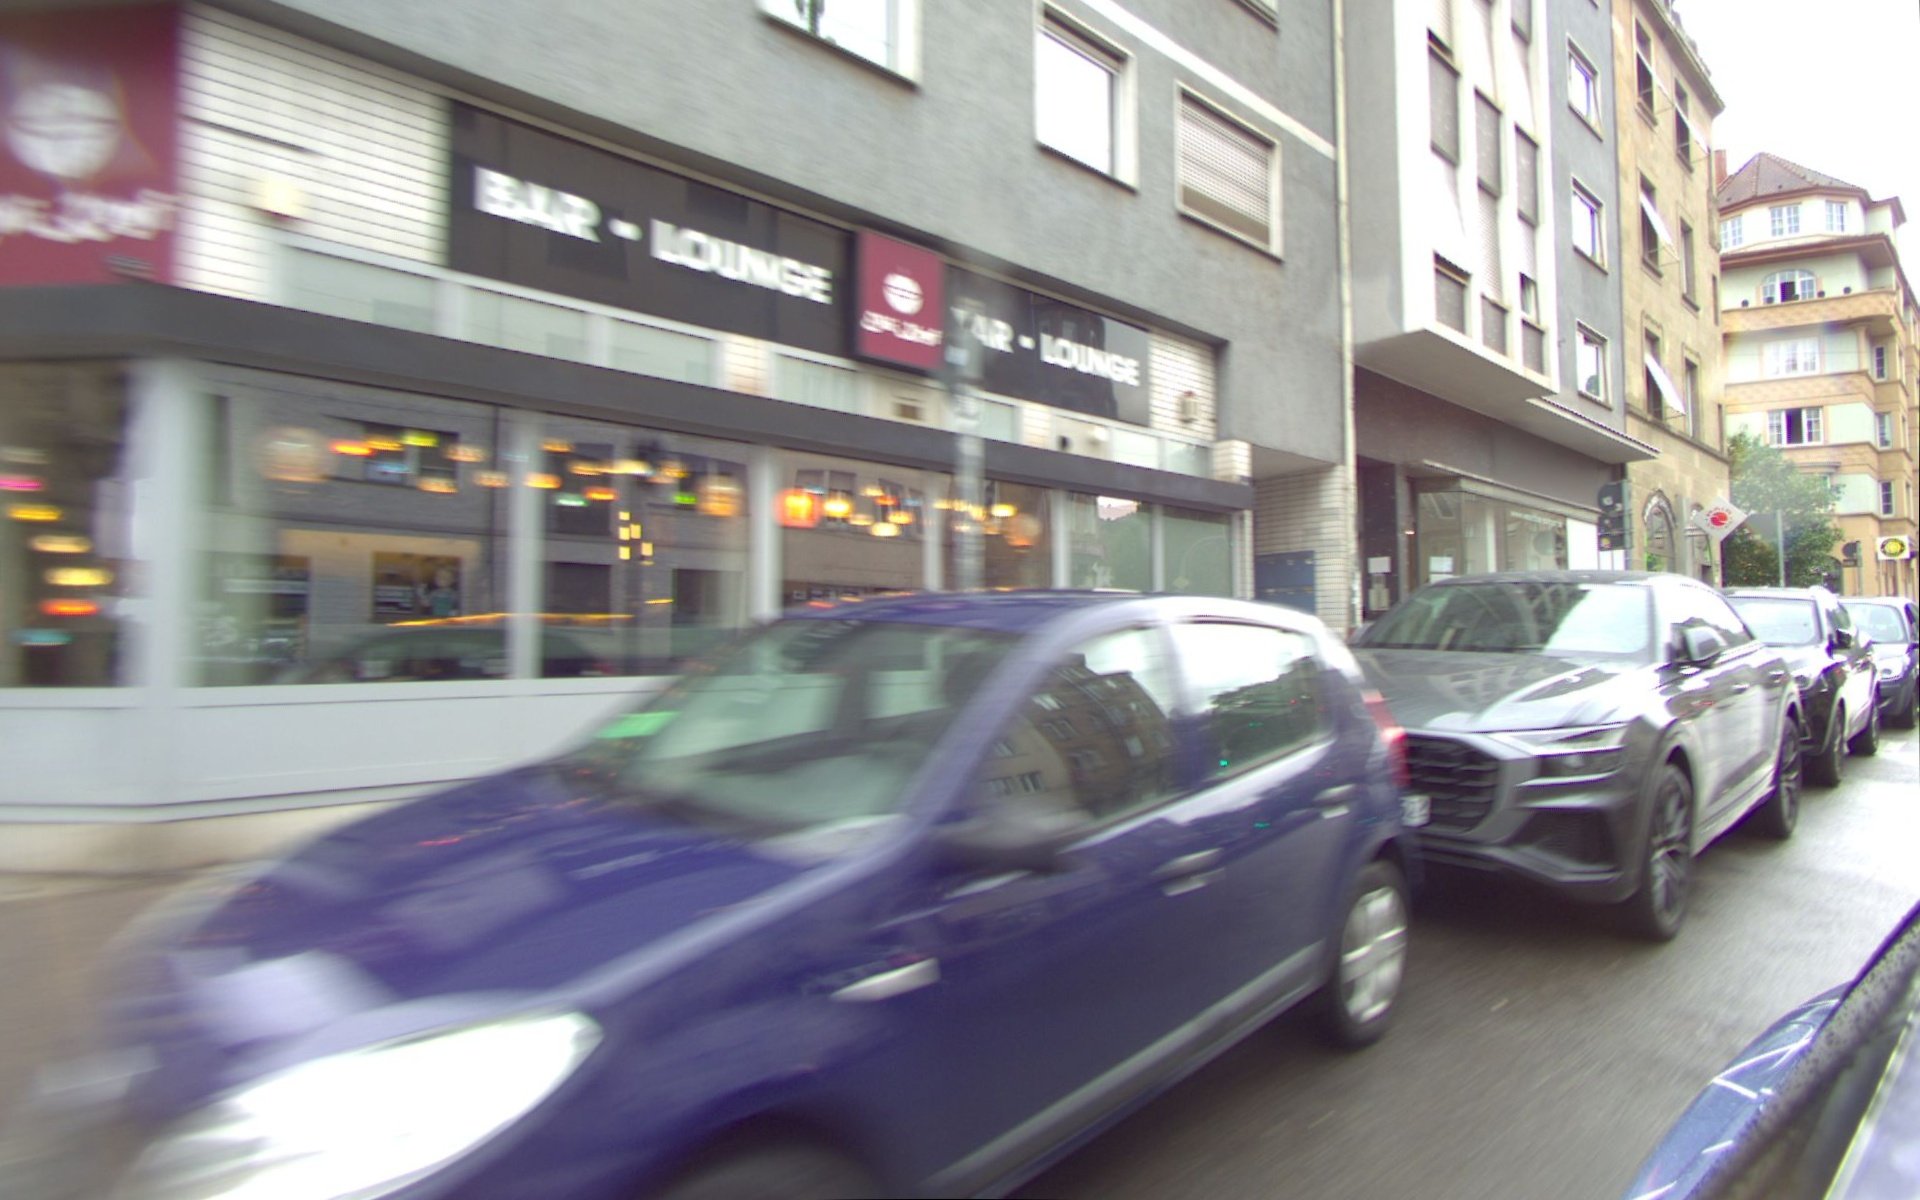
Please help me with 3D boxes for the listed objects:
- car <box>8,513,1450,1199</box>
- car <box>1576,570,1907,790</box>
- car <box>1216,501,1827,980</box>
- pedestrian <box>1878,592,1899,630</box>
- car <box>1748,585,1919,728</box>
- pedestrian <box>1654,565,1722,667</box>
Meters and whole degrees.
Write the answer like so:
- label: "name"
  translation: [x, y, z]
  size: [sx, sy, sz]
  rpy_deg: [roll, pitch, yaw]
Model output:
- label: "car"
  translation: [-0.110, 0.655, 2.979]
  size: [1.691, 1.501, 3.867]
  rpy_deg: [0, 0, 44]
- label: "car"
  translation: [7.674, 0.589, 9.787]
  size: [4.177, 1.675, 1.820]
  rpy_deg: [0, 1, -42]
- label: "car"
  translation: [3.559, 0.527, 5.962]
  size: [4.488, 1.783, 1.795]
  rpy_deg: [0, -1, -42]
- label: "pedestrian"
  translation: [38.970, 0.477, 42.490]
  size: [0.430, 1.592, 0.578]
  rpy_deg: [0, -2, -42]
- label: "car"
  translation: [12.188, 0.636, 13.655]
  size: [4.441, 1.634, 1.713]
  rpy_deg: [0, 1, -42]
- label: "pedestrian"
  translation: [13.486, 0.284, 18.749]
  size: [0.832, 1.840, 0.851]
  rpy_deg: [0, 0, -41]
